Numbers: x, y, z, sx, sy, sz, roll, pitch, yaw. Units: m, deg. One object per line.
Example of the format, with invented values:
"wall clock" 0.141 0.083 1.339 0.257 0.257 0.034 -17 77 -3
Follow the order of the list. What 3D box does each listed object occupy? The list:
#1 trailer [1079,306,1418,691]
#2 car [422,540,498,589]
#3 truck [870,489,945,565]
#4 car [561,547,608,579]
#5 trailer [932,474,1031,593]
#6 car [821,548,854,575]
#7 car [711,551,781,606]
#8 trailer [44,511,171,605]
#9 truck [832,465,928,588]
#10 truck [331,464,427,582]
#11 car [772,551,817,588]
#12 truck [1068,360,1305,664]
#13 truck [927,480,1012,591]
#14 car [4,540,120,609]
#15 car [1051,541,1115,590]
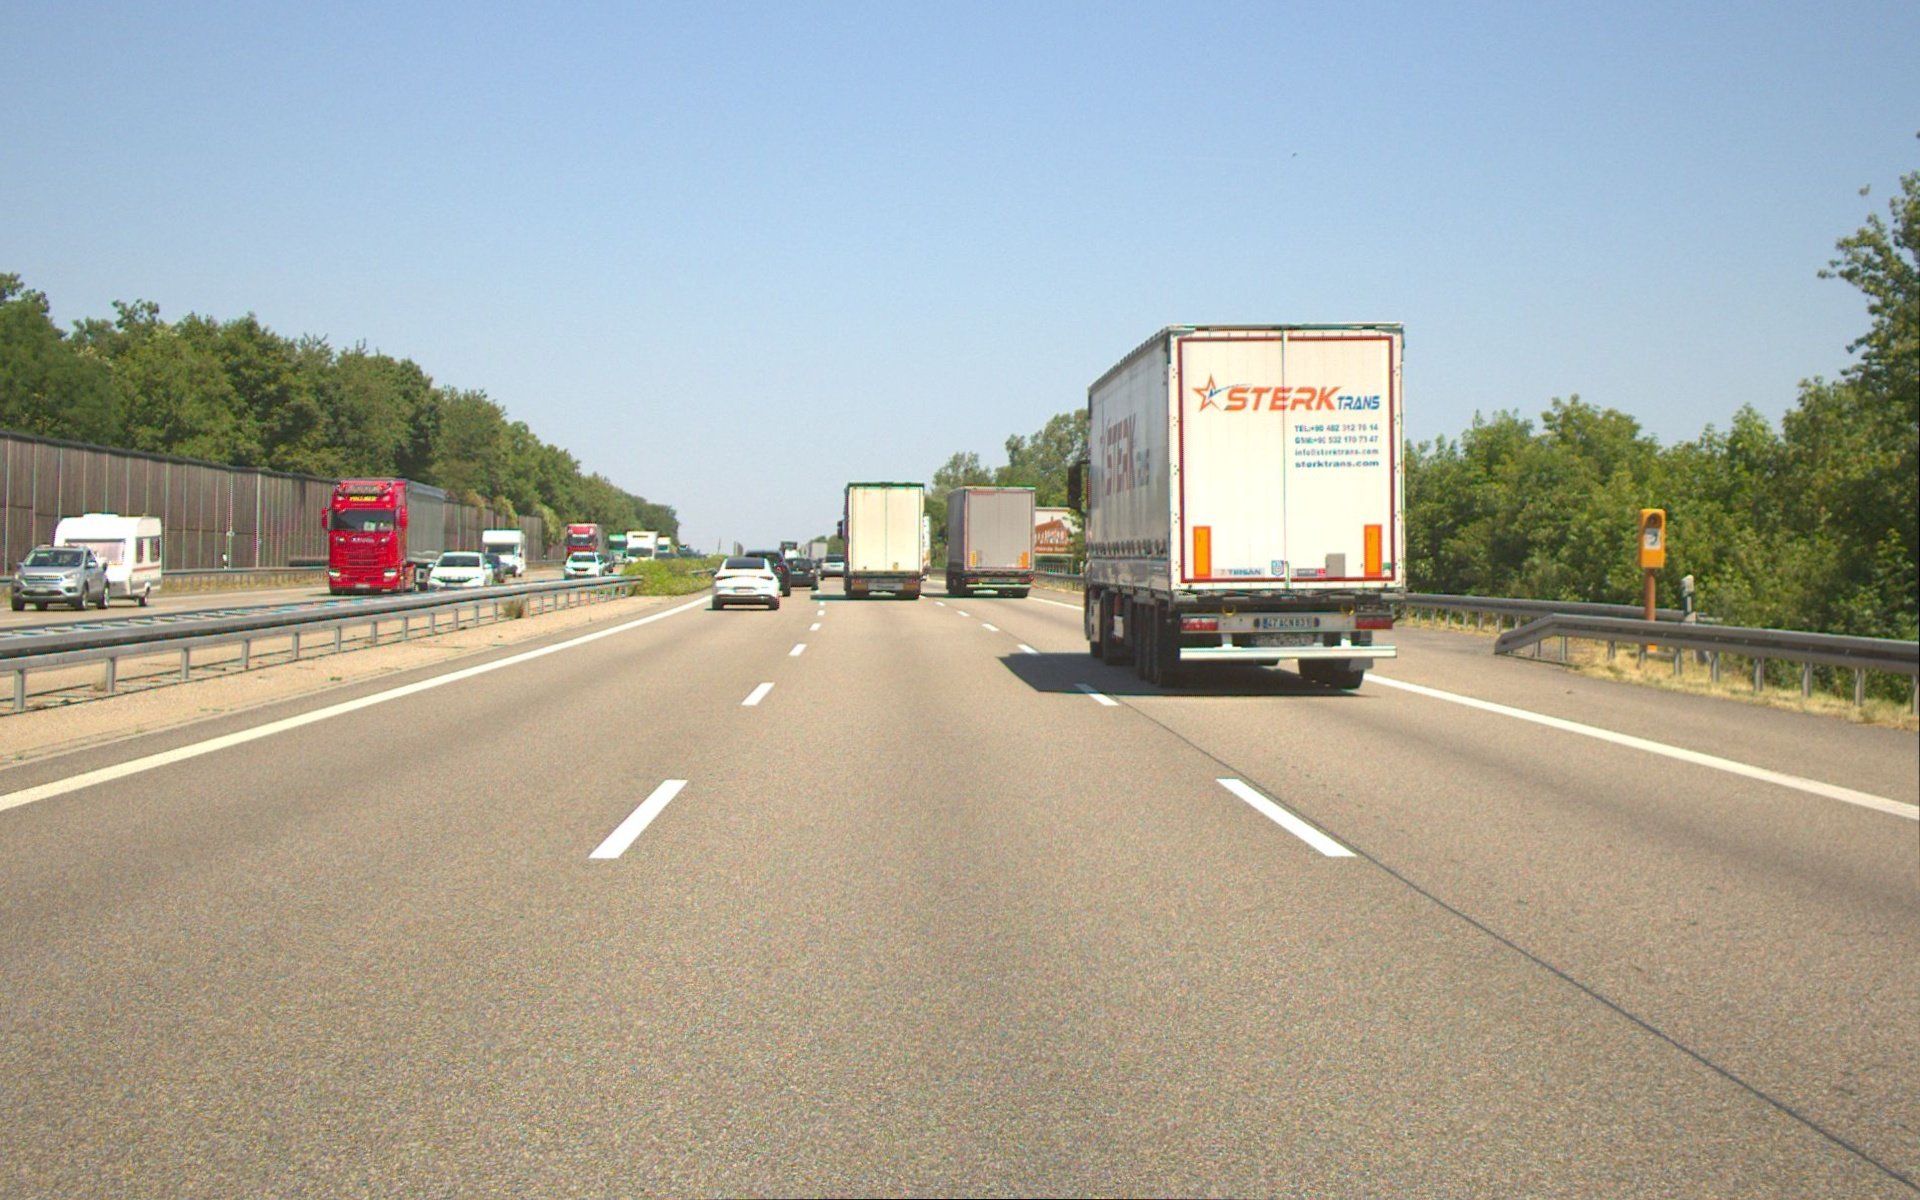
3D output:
"trailer" 3.330 -1.172 43.841 2.707 4.074 14.152 1 1 -2
"car" -15.841 -1.155 109.122 1.899 1.515 4.419 0 1 -2
"truck" -3.276 -4.440 210.122 3.373 4.289 11.452 4 1 -6
"car" -18.356 -1.822 168.129 1.805 1.538 4.246 0 1 0
"trailer" 0.718 -2.443 129.969 2.703 4.201 13.214 1 1 -4
"car" -7.466 -2.339 209.444 1.855 1.611 4.001 0 1 -4
"car" -5.981 -0.613 96.248 1.855 1.481 4.000 0 1 -2
"trailer" -23.199 -1.170 93.786 2.131 2.468 6.269 0 1 -2
"truck" -2.953 -2.556 122.868 2.706 4.072 13.476 1 1 -4
"truck" -20.630 -2.721 122.442 2.358 4.062 7.154 0 1 -1
"car" -7.285 -1.345 150.821 1.855 1.611 4.001 0 1 -4
"truck" 3.169 -1.233 49.901 2.707 4.074 6.965 1 1 -2
"truck" 0.340 -2.503 135.510 2.691 4.201 7.839 1 0 -4
"car" -22.995 -0.675 88.216 1.899 1.705 4.907 0 1 -3
"car" 4.123 -1.161 115.793 1.855 1.611 4.000 0 1 -2
